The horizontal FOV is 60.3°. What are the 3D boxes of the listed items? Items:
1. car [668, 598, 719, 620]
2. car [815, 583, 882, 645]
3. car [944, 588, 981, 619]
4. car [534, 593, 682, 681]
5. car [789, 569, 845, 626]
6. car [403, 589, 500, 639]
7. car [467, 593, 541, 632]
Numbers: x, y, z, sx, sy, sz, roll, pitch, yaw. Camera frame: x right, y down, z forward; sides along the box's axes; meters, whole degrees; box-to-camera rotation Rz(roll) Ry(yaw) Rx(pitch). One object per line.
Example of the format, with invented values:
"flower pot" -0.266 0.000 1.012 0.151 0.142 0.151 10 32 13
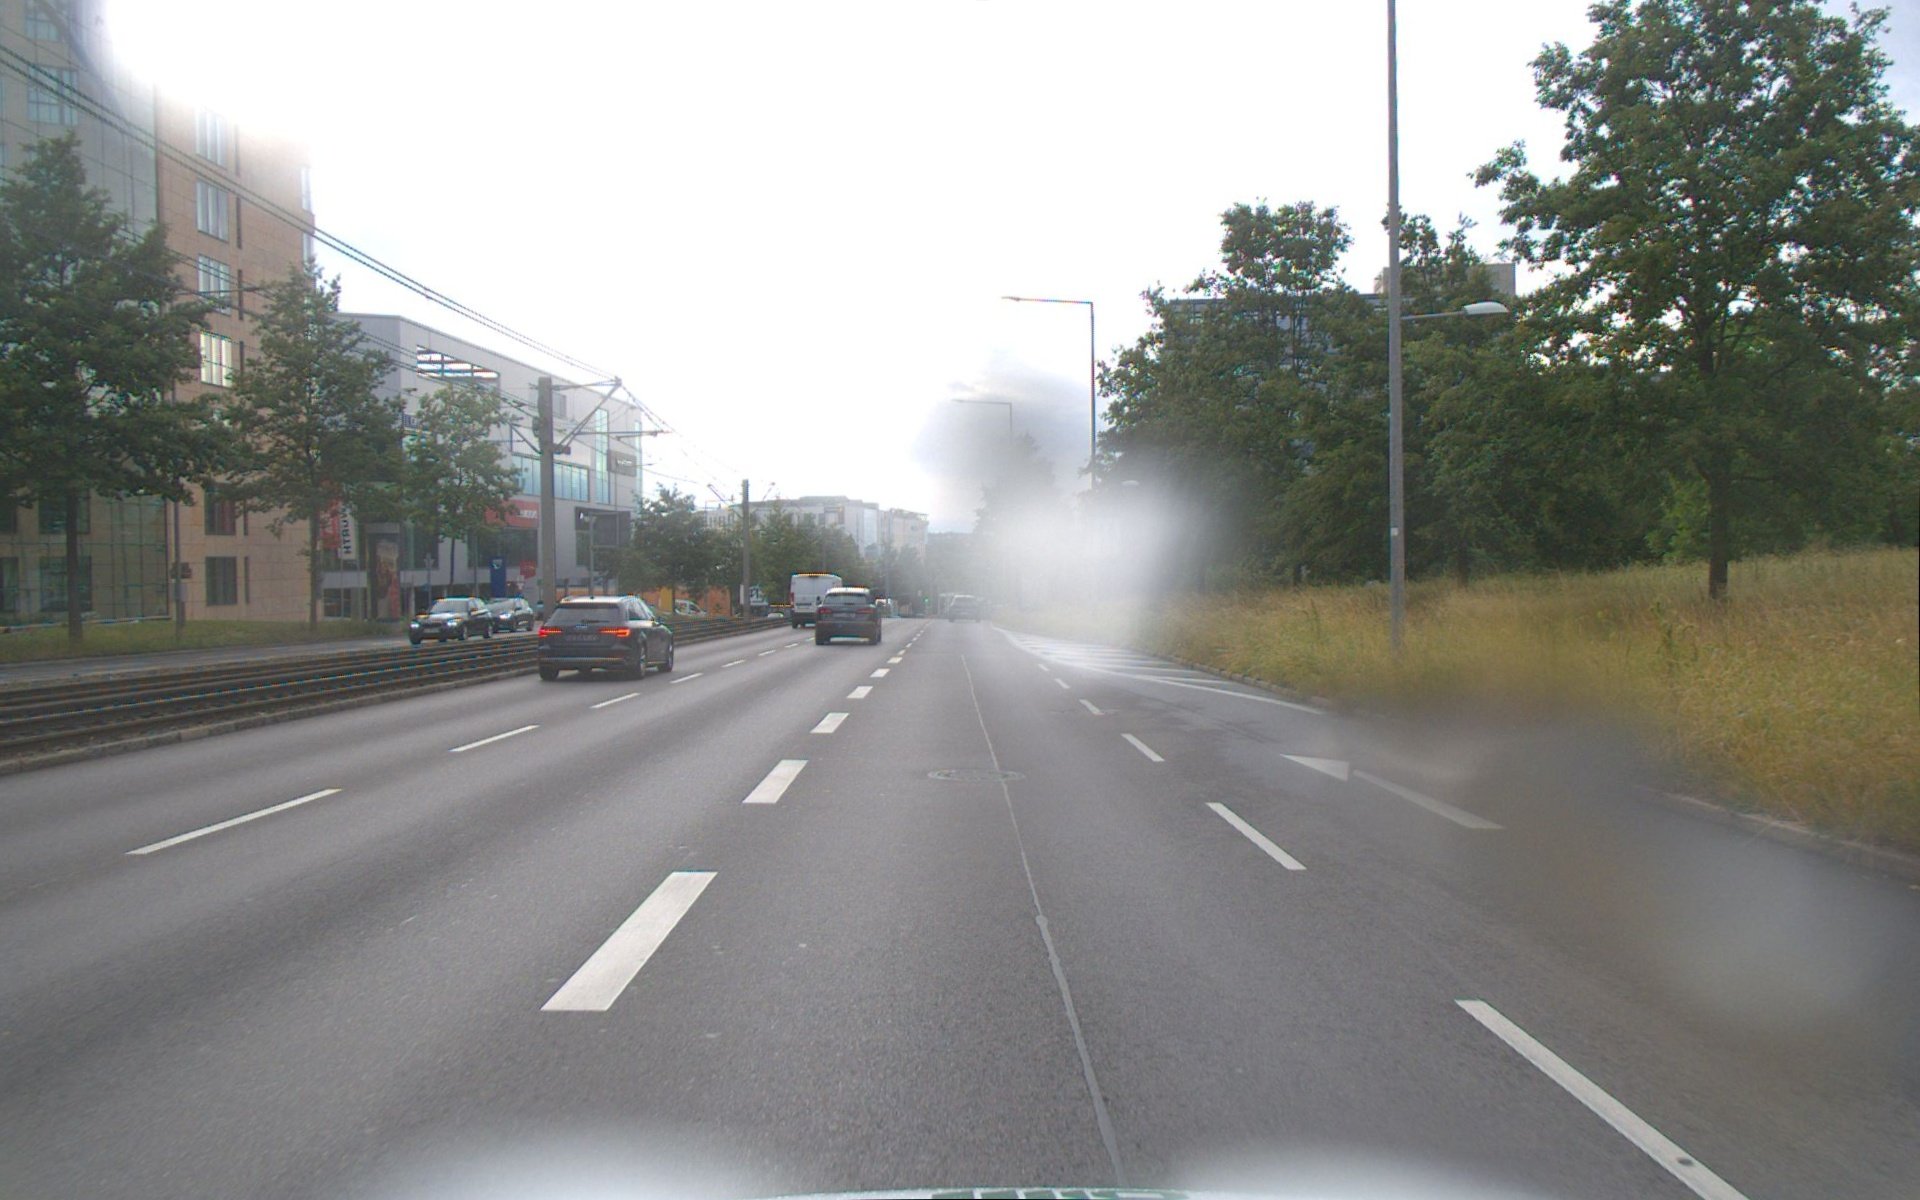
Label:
"car" -28.793 0.975 178.863 5.199 2.353 2.018 1 -2 -5
"car" -3.319 0.394 49.540 1.884 1.740 4.095 1 0 -4
"car" 0.127 0.199 92.333 1.754 1.619 3.997 -1 0 -4
"car" -6.233 0.607 29.793 1.750 1.438 4.804 1 0 -2
"car" -6.153 -0.111 71.691 2.223 2.325 4.756 1 0 -3
"car" -16.486 0.477 53.850 1.735 1.528 4.200 1 -1 2
"car" -19.766 0.517 71.876 1.803 1.512 4.653 -3 1 0
